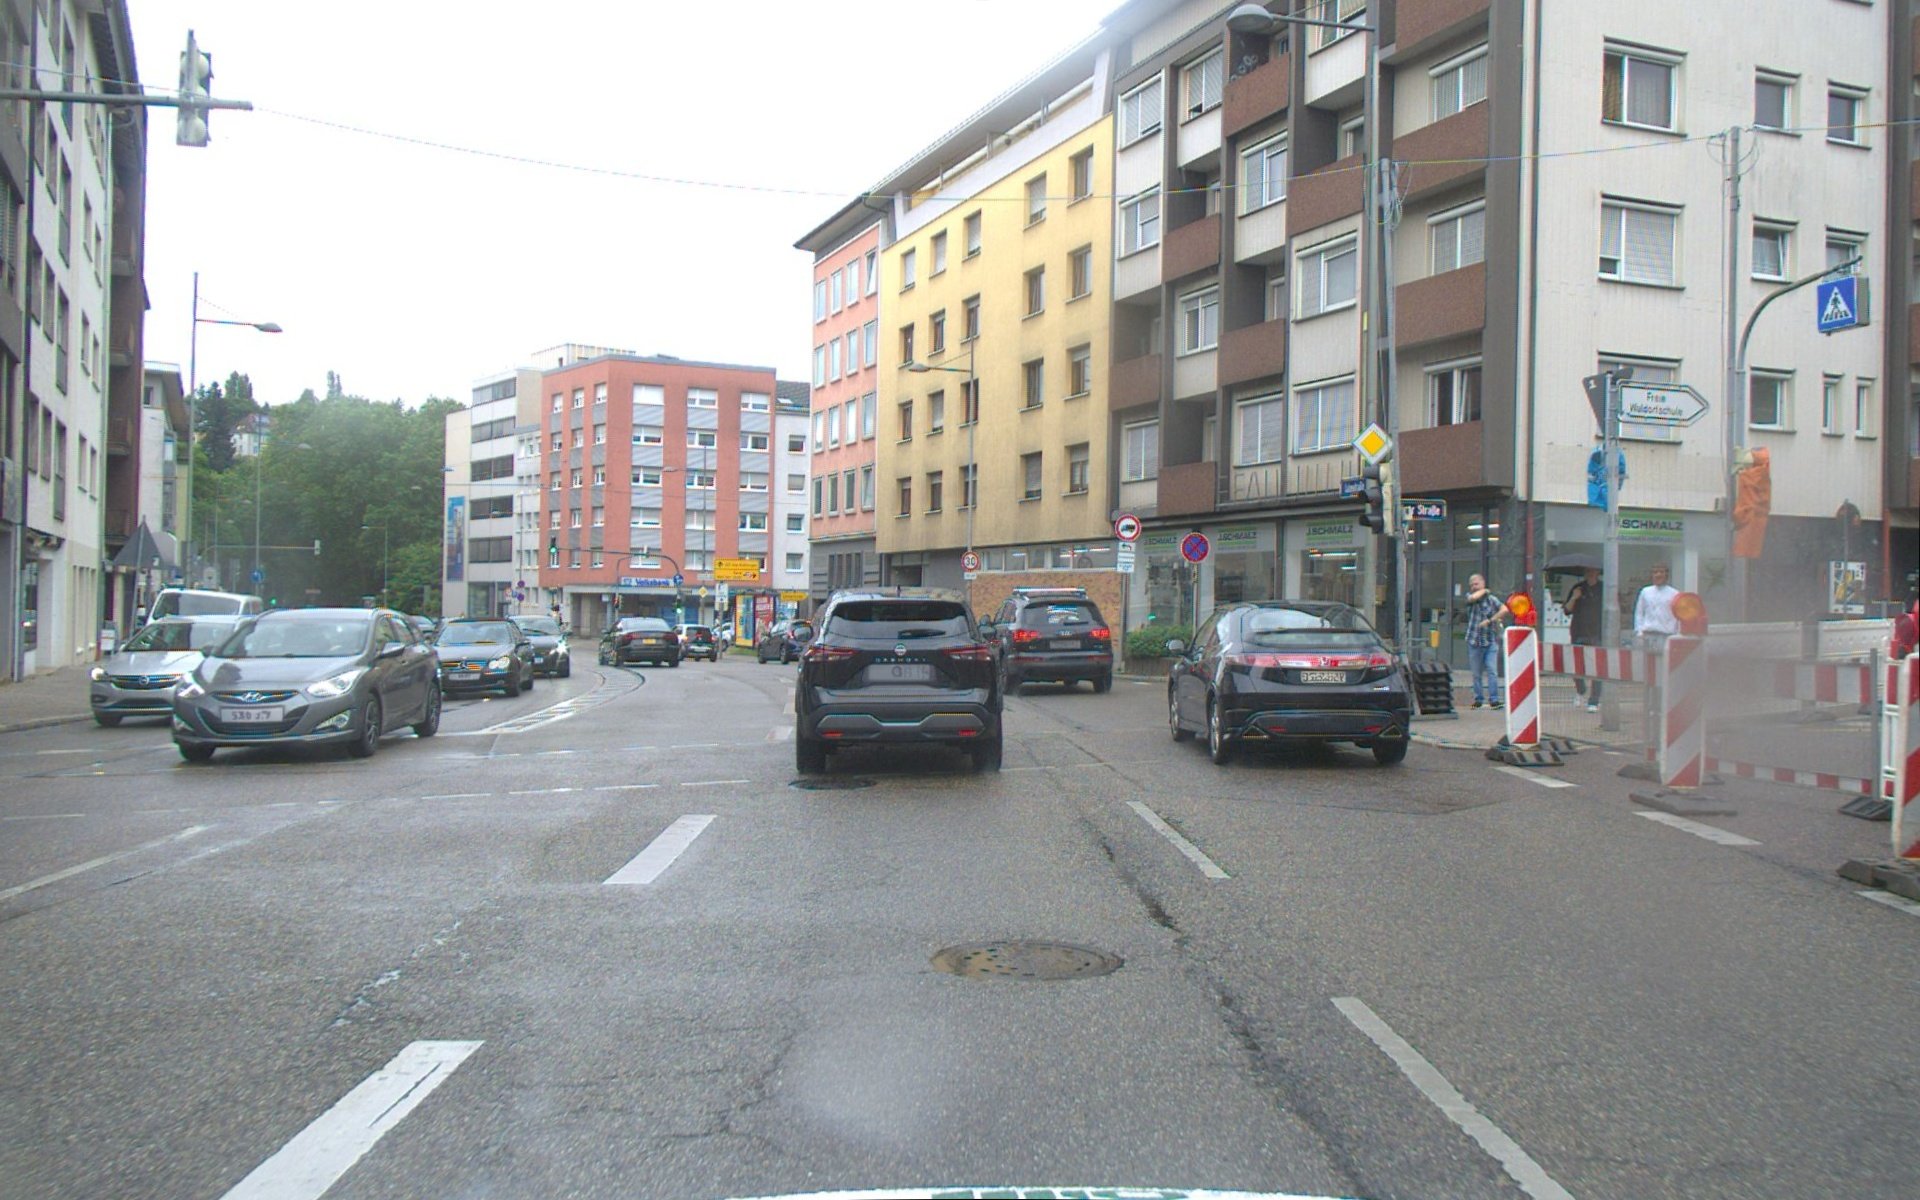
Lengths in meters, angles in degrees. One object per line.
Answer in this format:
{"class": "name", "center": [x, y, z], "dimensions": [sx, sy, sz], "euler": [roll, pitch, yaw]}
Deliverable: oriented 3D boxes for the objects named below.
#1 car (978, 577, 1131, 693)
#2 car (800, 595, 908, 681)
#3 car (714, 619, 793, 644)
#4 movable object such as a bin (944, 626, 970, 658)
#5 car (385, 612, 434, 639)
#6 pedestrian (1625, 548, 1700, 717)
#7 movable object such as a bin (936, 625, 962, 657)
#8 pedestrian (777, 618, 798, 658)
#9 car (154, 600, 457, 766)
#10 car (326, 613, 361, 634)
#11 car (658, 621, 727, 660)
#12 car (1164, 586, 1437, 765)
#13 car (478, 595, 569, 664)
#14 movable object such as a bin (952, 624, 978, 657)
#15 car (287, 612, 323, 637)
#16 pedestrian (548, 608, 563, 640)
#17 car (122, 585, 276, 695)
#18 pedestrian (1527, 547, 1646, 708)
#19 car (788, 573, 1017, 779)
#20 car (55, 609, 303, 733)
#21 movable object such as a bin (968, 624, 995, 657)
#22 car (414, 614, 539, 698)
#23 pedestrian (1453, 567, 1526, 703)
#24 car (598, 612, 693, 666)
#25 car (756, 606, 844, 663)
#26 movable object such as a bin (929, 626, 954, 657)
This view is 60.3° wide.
{"class": "car", "center": [1.626, 0.602, 30.269], "dimensions": [1.982, 1.902, 4.892], "euler": [-1, 0, -6]}
{"class": "car", "center": [-2.352, 0.786, 35.865], "dimensions": [1.910, 1.714, 3.991], "euler": [-1, 0, -10]}
{"class": "car", "center": [-13.046, 1.970, 104.407], "dimensions": [4.596, 1.512, 1.902], "euler": [0, -1, -28]}
{"class": "movable object such as a bin", "center": [-0.113, 1.423, 56.292], "dimensions": [0.672, 1.095, 0.663], "euler": [1, -1, -24]}
{"class": "car", "center": [-32.987, 1.531, 99.063], "dimensions": [1.839, 1.580, 4.178], "euler": [1, -1, -33]}
{"class": "pedestrian", "center": [8.186, 0.389, 19.269], "dimensions": [0.643, 1.912, 0.992], "euler": [-2, -2, 29]}
{"class": "movable object such as a bin", "center": [-0.386, 1.417, 56.915], "dimensions": [0.672, 1.095, 0.663], "euler": [1, -1, -24]}
{"class": "pedestrian", "center": [-7.916, 1.737, 75.764], "dimensions": [0.663, 1.819, 1.088], "euler": [1, -1, -21]}
{"class": "car", "center": [-6.746, 0.778, 17.605], "dimensions": [1.817, 1.500, 4.642], "euler": [-1, 0, -6]}
{"class": "car", "center": [-43.722, 1.676, 117.265], "dimensions": [1.800, 1.459, 4.358], "euler": [0, -1, -28]}
{"class": "car", "center": [-11.421, 1.726, 70.561], "dimensions": [1.967, 1.512, 3.971], "euler": [3, -1, -23]}
{"class": "car", "center": [3.152, 0.658, 16.112], "dimensions": [1.747, 1.523, 4.055], "euler": [0, 0, -1]}
{"class": "car", "center": [-10.310, 0.688, 39.229], "dimensions": [1.950, 1.485, 4.468], "euler": [-1, 0, -14]}
{"class": "movable object such as a bin", "center": [0.156, 1.364, 55.672], "dimensions": [0.672, 1.095, 0.663], "euler": [1, -1, -24]}
{"class": "car", "center": [-44.963, 1.661, 113.475], "dimensions": [1.841, 1.676, 4.214], "euler": [0, -1, -28]}
{"class": "pedestrian", "center": [-28.173, 1.653, 115.179], "dimensions": [0.815, 2.196, 0.763], "euler": [3, -2, -26]}
{"class": "car", "center": [-15.853, 0.861, 34.731], "dimensions": [2.084, 2.050, 5.105], "euler": [3, -3, -16]}
{"class": "pedestrian", "center": [7.638, 0.345, 20.179], "dimensions": [0.912, 1.894, 1.015], "euler": [1, -3, -44]}
{"class": "car", "center": [-0.601, 0.633, 15.499], "dimensions": [1.857, 1.657, 3.996], "euler": [0, 0, -4]}
{"class": "car", "center": [-10.892, 0.922, 23.443], "dimensions": [1.893, 1.500, 4.594], "euler": [-2, 0, -9]}
{"class": "movable object such as a bin", "center": [0.699, 1.327, 54.420], "dimensions": [0.672, 1.095, 0.663], "euler": [1, -1, -24]}
{"class": "car", "center": [-8.831, 0.992, 30.517], "dimensions": [1.792, 1.390, 4.590], "euler": [-1, -1, -11]}
{"class": "pedestrian", "center": [6.831, 0.458, 21.384], "dimensions": [0.775, 1.718, 0.822], "euler": [-2, -2, 12]}
{"class": "car", "center": [-9.337, 1.126, 48.809], "dimensions": [1.965, 1.412, 4.472], "euler": [3, -1, -21]}
{"class": "car", "center": [-5.555, 1.160, 57.037], "dimensions": [1.919, 1.848, 3.972], "euler": [-1, 0, -22]}
{"class": "movable object such as a bin", "center": [-0.654, 1.441, 57.557], "dimensions": [0.672, 1.095, 0.663], "euler": [1, -1, -24]}
